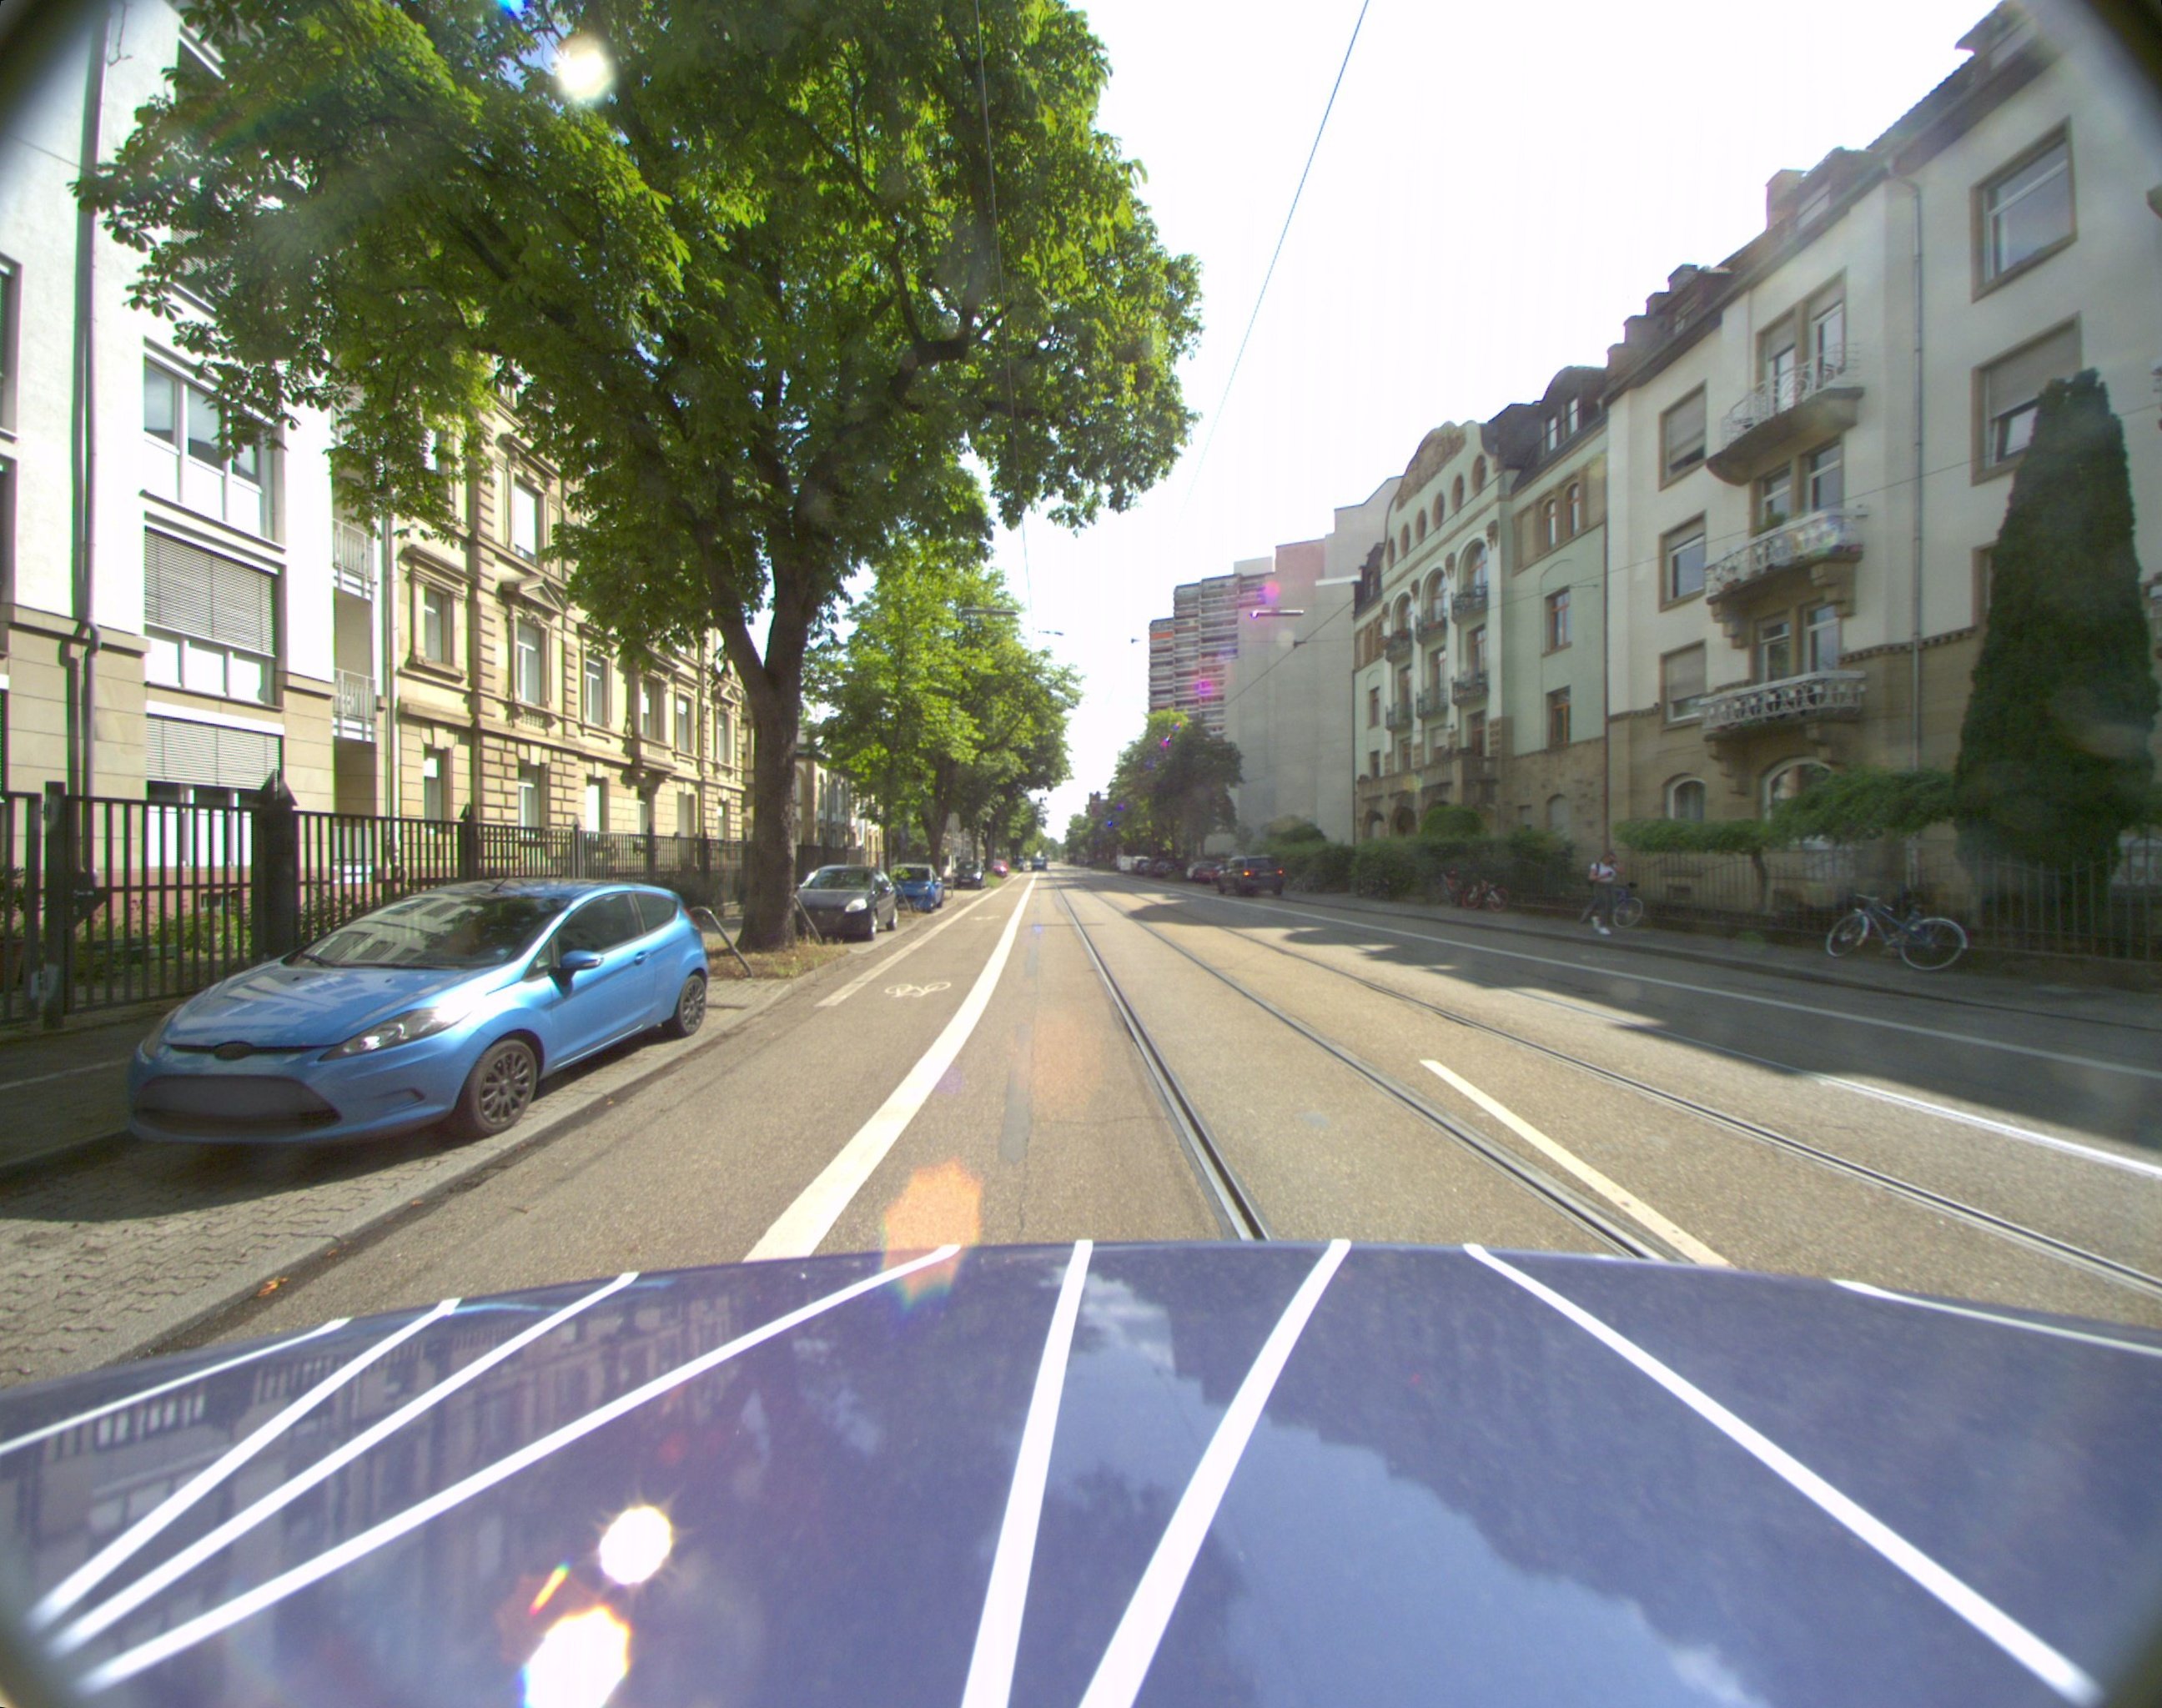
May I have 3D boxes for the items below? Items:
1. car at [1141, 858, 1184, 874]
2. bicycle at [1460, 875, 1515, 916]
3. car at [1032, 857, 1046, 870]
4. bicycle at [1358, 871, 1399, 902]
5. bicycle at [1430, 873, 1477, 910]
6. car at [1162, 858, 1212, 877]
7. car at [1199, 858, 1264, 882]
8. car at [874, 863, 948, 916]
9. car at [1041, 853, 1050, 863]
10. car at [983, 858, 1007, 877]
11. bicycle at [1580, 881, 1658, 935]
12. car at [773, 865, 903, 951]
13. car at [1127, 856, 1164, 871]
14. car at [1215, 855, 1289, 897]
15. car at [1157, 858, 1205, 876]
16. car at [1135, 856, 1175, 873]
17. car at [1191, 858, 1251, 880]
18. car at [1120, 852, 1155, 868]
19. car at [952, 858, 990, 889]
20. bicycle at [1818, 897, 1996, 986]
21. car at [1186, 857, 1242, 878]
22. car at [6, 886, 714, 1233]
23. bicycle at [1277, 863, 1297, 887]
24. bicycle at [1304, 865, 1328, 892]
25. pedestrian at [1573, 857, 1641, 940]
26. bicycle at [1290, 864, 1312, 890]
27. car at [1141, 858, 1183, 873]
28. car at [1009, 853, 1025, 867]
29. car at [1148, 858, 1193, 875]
[{"bbox_3d":[7.678,1.115,71.585,3.994,1.499,2.001,0,0,8],"label":"car"},{"bbox_3d":[10.706,1.066,20.066,0.468,0.990,1.787,0,0,-1],"label":"bicycle"},{"bbox_3d":[-6.425,1.475,116.882,1.974,1.900,4.817,0,0,-2],"label":"car"},{"bbox_3d":[10.171,1.105,26.053,0.605,0.990,1.981,0,0,-1],"label":"bicycle"},{"bbox_3d":[10.749,1.063,21.964,0.468,0.990,1.787,0,0,-1],"label":"bicycle"},{"bbox_3d":[8.655,1.072,62.098,3.994,1.499,2.001,0,0,8],"label":"car"},{"bbox_3d":[9.663,1.020,48.991,3.994,1.499,2.001,0,0,8],"label":"car"},{"bbox_3d":[-5.269,1.059,23.972,1.679,1.467,3.659,2,0,-4],"label":"car"},{"bbox_3d":[-9.466,1.046,202.665,2.146,2.568,4.817,0,0,-2],"label":"car"},{"bbox_3d":[-7.385,1.149,65.514,1.744,1.564,3.929,2,0,-4],"label":"car"},{"bbox_3d":[10.986,1.069,15.581,0.467,0.990,1.787,0,0,5],"label":"bicycle"},{"bbox_3d":[-4.881,1.025,15.757,1.679,1.467,3.659,2,0,-4],"label":"car"},{"bbox_3d":[7.034,1.034,82.647,3.994,1.672,2.001,0,0,8],"label":"car"},{"bbox_3d":[7.333,0.909,33.032,1.922,1.685,4.400,0,0,-5],"label":"car"},{"bbox_3d":[8.566,1.090,65.255,3.994,1.499,2.001,0,0,8],"label":"car"},{"bbox_3d":[7.605,1.043,78.220,3.994,1.672,2.001,0,0,8],"label":"car"},{"bbox_3d":[9.637,1.035,52.499,3.994,1.499,2.001,0,0,8],"label":"car"},{"bbox_3d":[6.629,0.705,88.484,1.994,1.740,4.008,-1,1,41],"label":"car"},{"bbox_3d":[-6.125,1.065,42.552,1.744,1.564,3.659,2,0,-4],"label":"car"},{"bbox_3d":[11.120,1.133,10.336,0.467,0.990,1.979,0,0,7],"label":"bicycle"},{"bbox_3d":[9.782,0.958,56.047,3.994,1.499,2.001,0,0,8],"label":"car"},{"bbox_3d":[-4.310,1.067,5.456,1.647,1.467,3.660,2,0,-3],"label":"car"},{"bbox_3d":[10.064,1.012,37.203,0.468,1.128,1.787,0,0,-1],"label":"bicycle"},{"bbox_3d":[10.237,1.070,33.164,0.468,1.128,1.787,0,0,-1],"label":"bicycle"},{"bbox_3d":[10.003,0.824,14.480,0.758,1.532,0.765,0,0,-2],"label":"pedestrian"},{"bbox_3d":[10.160,1.053,35.106,0.468,1.128,1.787,0,0,-1],"label":"bicycle"},{"bbox_3d":[8.014,1.118,74.745,3.994,1.499,2.001,0,0,8],"label":"car"},{"bbox_3d":[-7.614,0.736,90.189,1.744,1.564,3.929,2,0,-4],"label":"car"},{"bbox_3d":[8.075,1.135,68.375,3.994,1.499,2.001,0,0,8],"label":"car"}]
